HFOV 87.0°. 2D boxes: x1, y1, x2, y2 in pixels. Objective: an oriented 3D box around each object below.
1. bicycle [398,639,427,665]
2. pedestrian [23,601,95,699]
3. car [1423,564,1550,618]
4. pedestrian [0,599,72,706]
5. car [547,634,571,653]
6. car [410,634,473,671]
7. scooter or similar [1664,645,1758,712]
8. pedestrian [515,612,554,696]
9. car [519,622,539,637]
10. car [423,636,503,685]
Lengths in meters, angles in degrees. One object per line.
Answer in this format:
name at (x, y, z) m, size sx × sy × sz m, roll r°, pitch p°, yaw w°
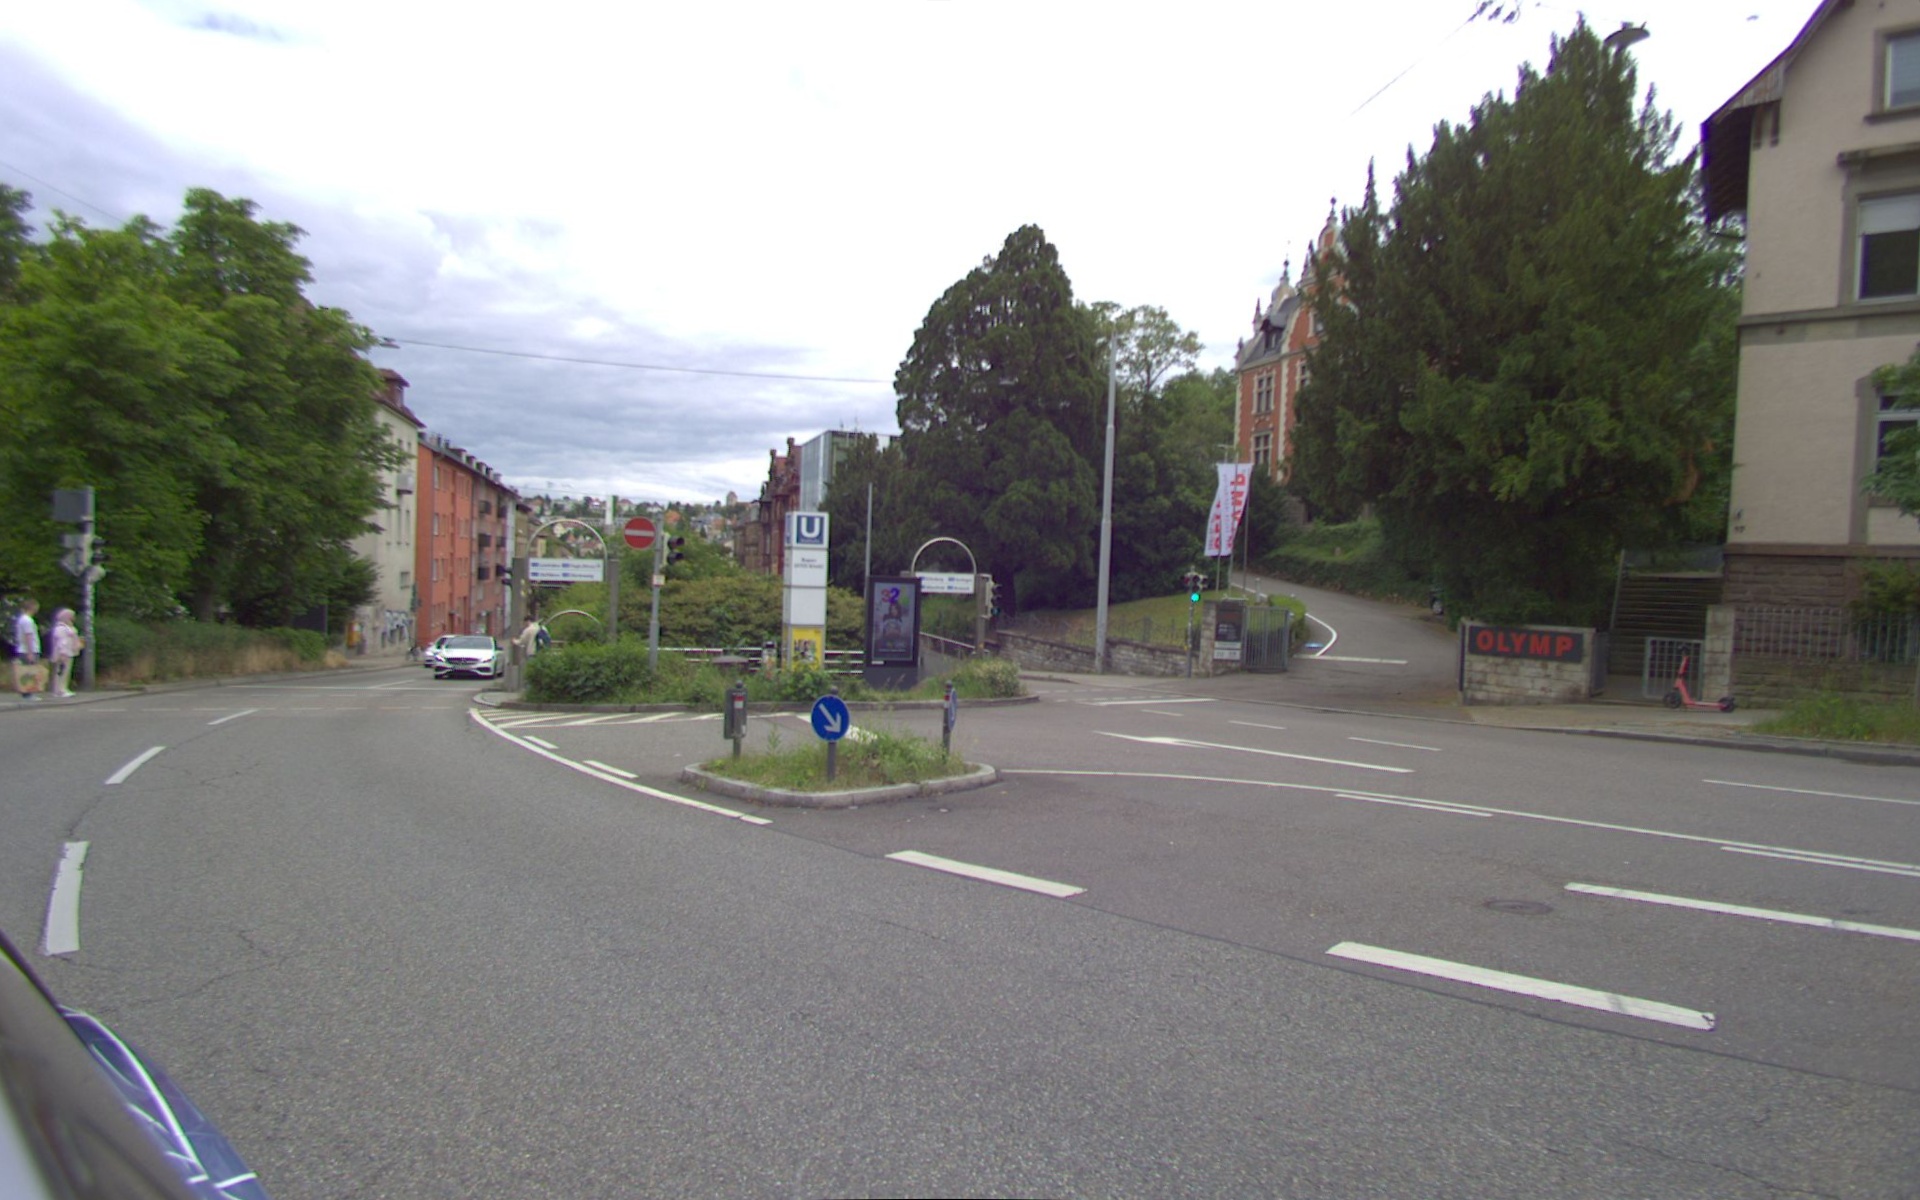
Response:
bicycle at (-25.792, 2.435, 47.628) m, size 0.631 × 1.152 × 2.067 m, roll 5°, pitch -4°, yaw -43°
pedestrian at (-16.377, 0.911, 18.407) m, size 0.606 × 1.725 × 0.729 m, roll 3°, pitch -3°, yaw -15°
car at (20.665, -0.303, 39.885) m, size 1.965 × 2.029 × 4.013 m, roll 0°, pitch -1°, yaw -27°
pedestrian at (-15.583, 0.878, 17.026) m, size 0.606 × 1.725 × 0.729 m, roll 3°, pitch -3°, yaw -15°
car at (-38.843, 4.154, 98.017) m, size 1.851 × 1.751 × 4.012 m, roll 2°, pitch -2°, yaw -18°
car at (-23.006, 2.301, 45.058) m, size 1.965 × 1.499 × 4.243 m, roll -1°, pitch -2°, yaw -20°
scooter or similar at (13.766, 1.435, 18.571) m, size 0.543 × 1.169 × 1.212 m, roll 0°, pitch -4°, yaw -28°
pedestrian at (-9.707, 1.232, 23.101) m, size 0.696 × 1.875 × 0.615 m, roll 0°, pitch -3°, yaw -12°
car at (-53.432, 3.616, 125.427) m, size 1.832 × 1.724 × 4.321 m, roll 3°, pitch -3°, yaw -18°
car at (-16.305, 1.961, 33.398) m, size 1.965 × 1.409 × 4.243 m, roll 3°, pitch -3°, yaw -21°
